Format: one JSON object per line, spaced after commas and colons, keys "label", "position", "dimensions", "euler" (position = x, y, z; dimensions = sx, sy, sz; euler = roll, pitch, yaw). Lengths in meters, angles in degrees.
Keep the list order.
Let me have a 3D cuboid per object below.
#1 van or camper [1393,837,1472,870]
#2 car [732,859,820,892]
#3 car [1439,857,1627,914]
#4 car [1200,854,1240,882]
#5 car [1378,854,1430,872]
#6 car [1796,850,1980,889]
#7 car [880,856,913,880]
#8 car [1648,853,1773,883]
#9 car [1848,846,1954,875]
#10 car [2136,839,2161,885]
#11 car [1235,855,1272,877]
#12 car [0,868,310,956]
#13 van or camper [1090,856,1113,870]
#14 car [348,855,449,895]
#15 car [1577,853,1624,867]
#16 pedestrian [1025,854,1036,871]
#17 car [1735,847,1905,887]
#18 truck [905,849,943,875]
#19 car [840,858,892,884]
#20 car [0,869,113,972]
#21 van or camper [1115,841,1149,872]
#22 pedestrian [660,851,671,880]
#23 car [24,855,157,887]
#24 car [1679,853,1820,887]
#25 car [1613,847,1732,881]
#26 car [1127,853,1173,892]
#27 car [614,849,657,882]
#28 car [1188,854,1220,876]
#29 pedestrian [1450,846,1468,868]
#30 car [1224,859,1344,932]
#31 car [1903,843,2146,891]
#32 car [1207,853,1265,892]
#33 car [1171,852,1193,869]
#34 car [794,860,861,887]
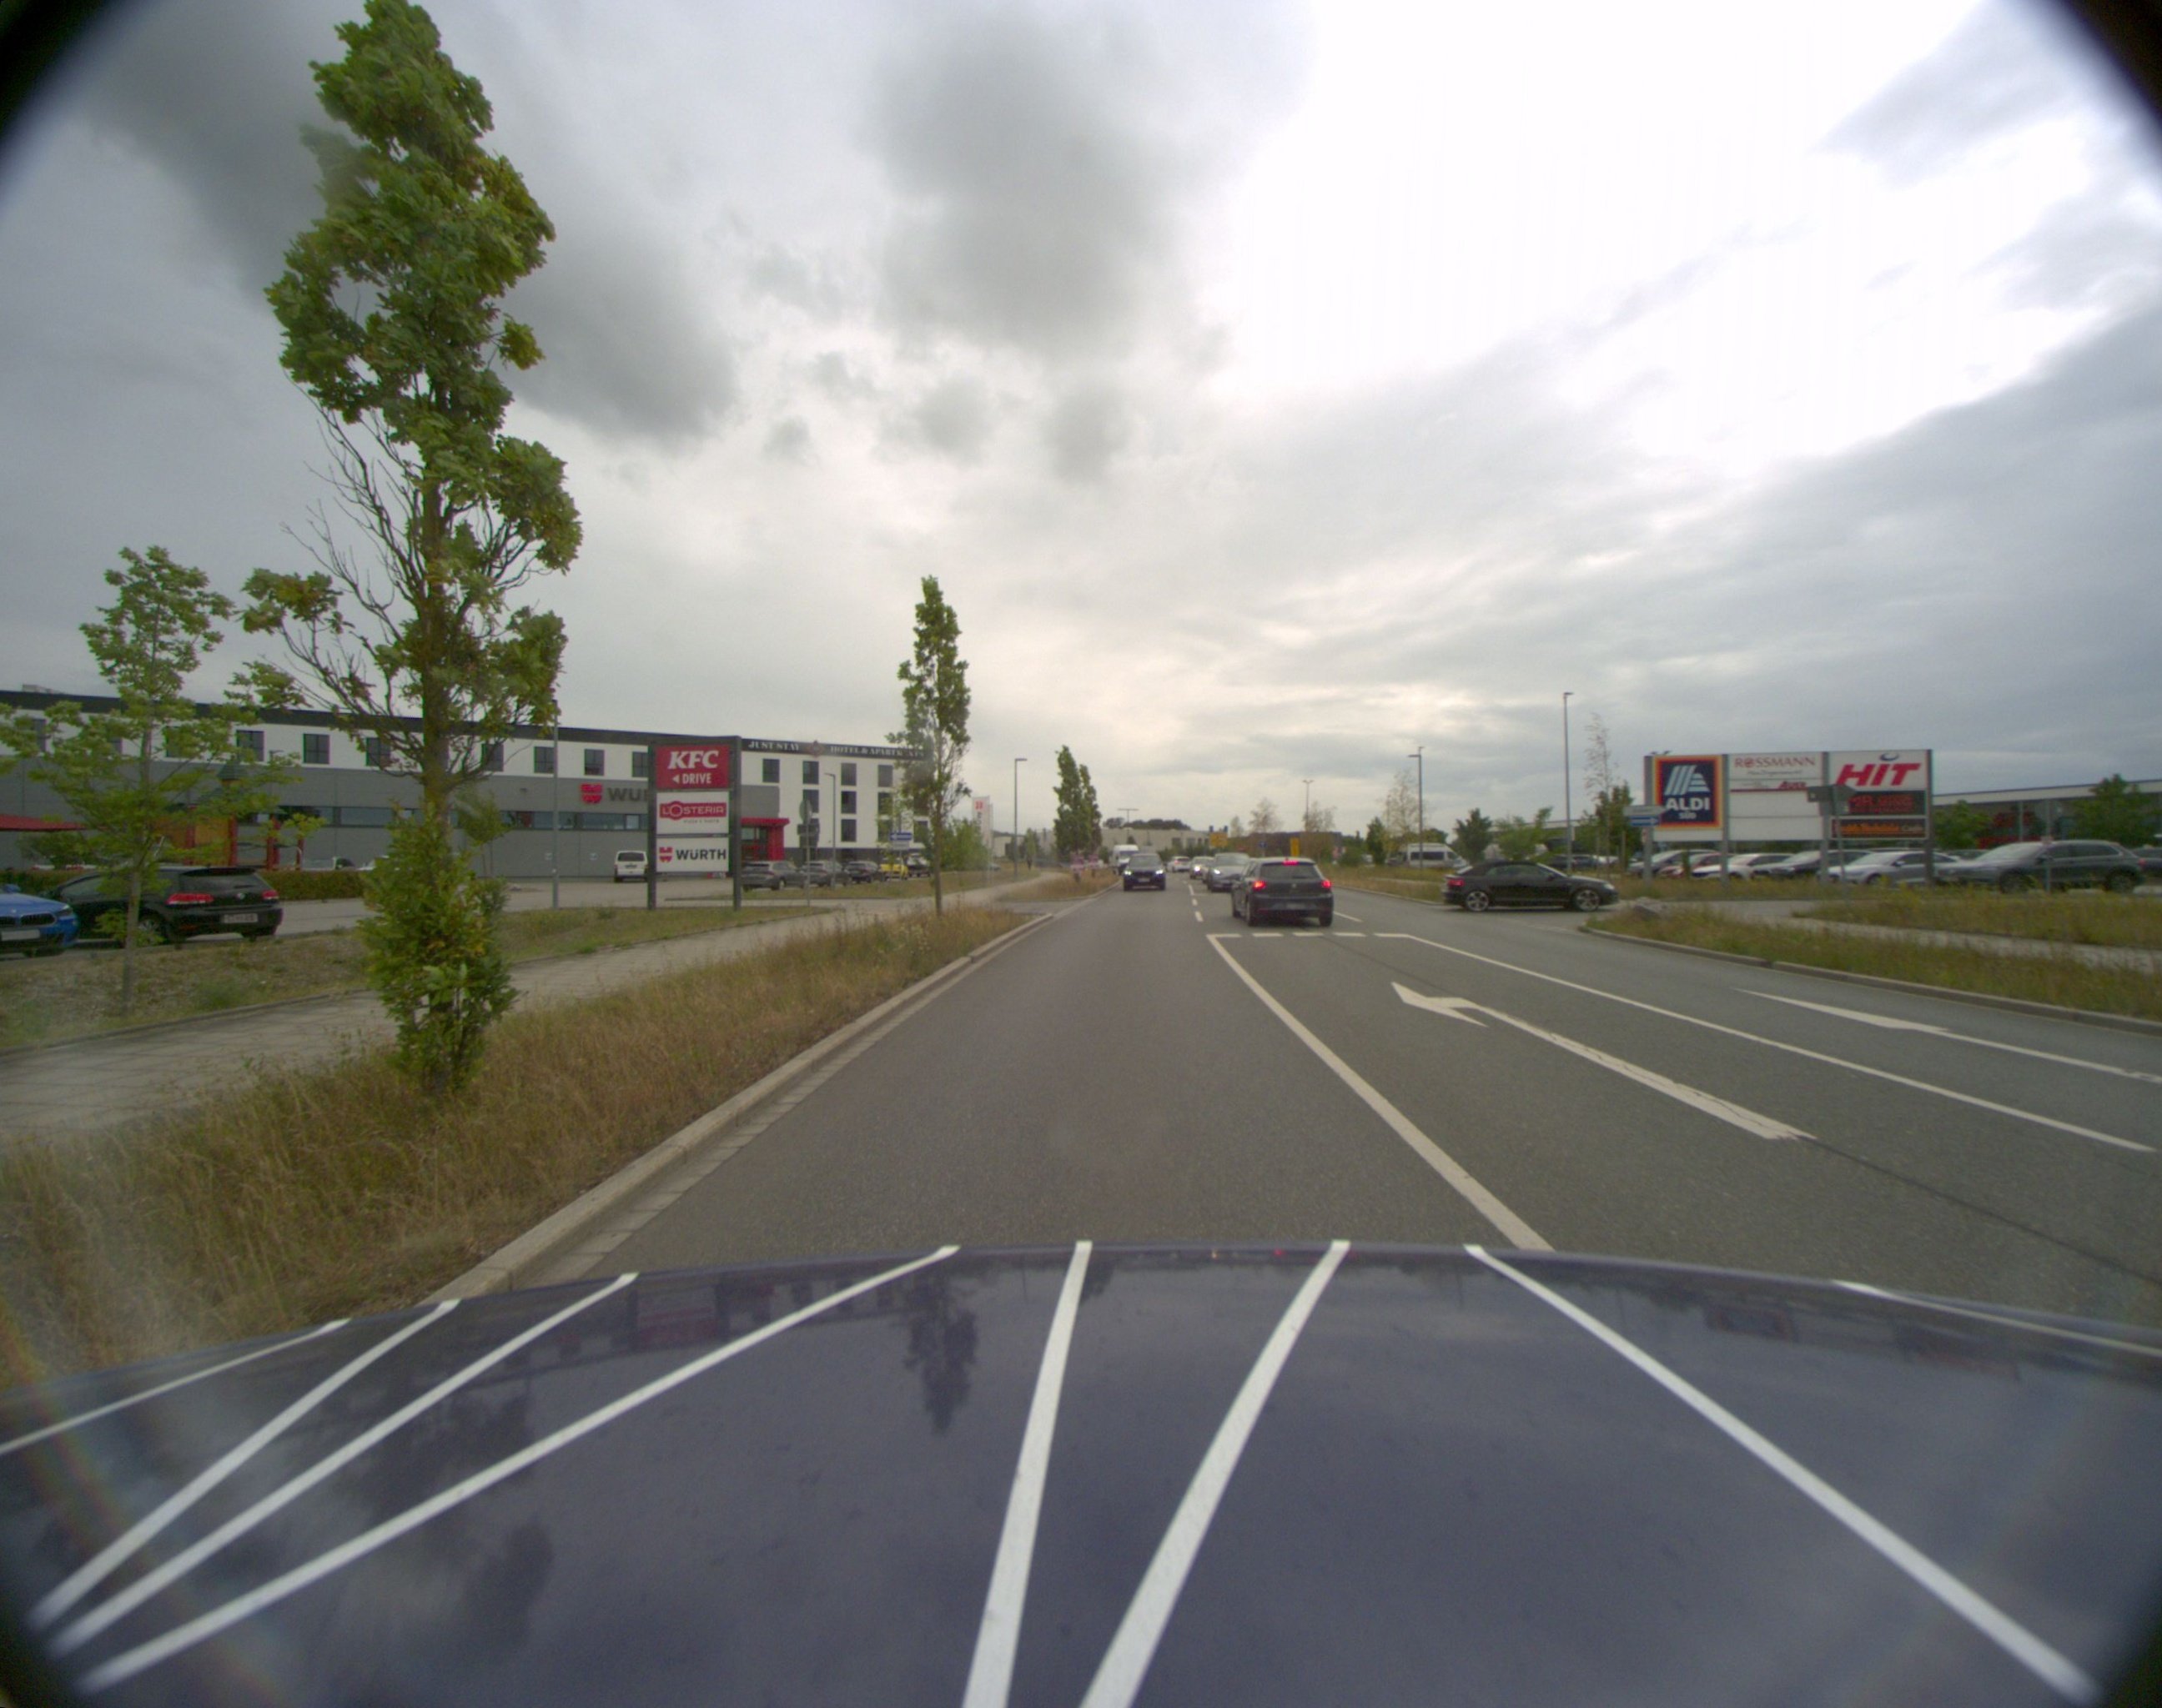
{"label": "van or camper", "position": [30.532, -0.050, 66.132], "dimensions": [5.869, 2.783, 2.242], "euler": [0, 1, -3]}
{"label": "car", "position": [-14.492, 0.975, 36.411], "dimensions": [1.966, 1.451, 4.834], "euler": [0, 0, 4]}
{"label": "car", "position": [12.214, 0.815, 20.868], "dimensions": [4.221, 1.429, 1.777], "euler": [0, 1, 21]}
{"label": "car", "position": [7.616, 0.748, 41.932], "dimensions": [1.884, 1.460, 4.195], "euler": [0, 0, 6]}
{"label": "car", "position": [30.048, 0.874, 70.850], "dimensions": [3.954, 1.624, 2.085], "euler": [0, 0, -2]}
{"label": "car", "position": [28.692, 0.555, 27.151], "dimensions": [4.323, 1.332, 2.027], "euler": [0, 0, 2]}
{"label": "car", "position": [-13.234, 0.988, 54.777], "dimensions": [1.768, 1.676, 4.409], "euler": [0, 0, -6]}
{"label": "car", "position": [29.615, 0.646, 35.870], "dimensions": [4.092, 1.383, 2.001], "euler": [0, 0, 7]}
{"label": "car", "position": [55.205, 0.422, 51.260], "dimensions": [2.246, 1.863, 4.300], "euler": [0, 0, -16]}
{"label": "car", "position": [46.456, 0.302, 30.543], "dimensions": [1.840, 1.910, 4.440], "euler": [0, 0, -22]}
{"label": "car", "position": [11.632, 0.788, 51.352], "dimensions": [1.840, 1.409, 4.501], "euler": [1, 0, 5]}
{"label": "car", "position": [-17.317, 1.026, 14.238], "dimensions": [3.994, 1.485, 1.983], "euler": [0, 0, 7]}
{"label": "van or camper", "position": [3.048, 1.368, 112.833], "dimensions": [1.954, 1.996, 5.121], "euler": [1, 0, -15]}
{"label": "car", "position": [-30.914, 0.895, 34.617], "dimensions": [2.002, 1.687, 4.783], "euler": [0, 0, -23]}
{"label": "car", "position": [56.439, 0.628, 82.587], "dimensions": [2.000, 1.433, 3.997], "euler": [0, 0, -8]}
{"label": "pedestrian", "position": [-5.649, 0.942, 84.669], "dimensions": [1.075, 1.847, 1.193], "euler": [0, 1, -11]}
{"label": "car", "position": [29.116, 0.499, 30.075], "dimensions": [4.374, 1.496, 2.241], "euler": [0, 0, 6]}
{"label": "truck", "position": [-14.646, 0.724, 71.394], "dimensions": [2.233, 2.312, 8.213], "euler": [0, 0, -2]}
{"label": "car", "position": [-13.589, 1.073, 48.330], "dimensions": [1.998, 1.488, 4.607], "euler": [0, 1, 0]}
{"label": "car", "position": [-18.188, 1.015, 11.719], "dimensions": [4.271, 1.511, 1.966], "euler": [0, 0, 5]}
{"label": "van or camper", "position": [4.365, 0.224, 66.148], "dimensions": [2.265, 2.601, 5.695], "euler": [0, 0, -3]}
{"label": "pedestrian", "position": [-26.929, 0.757, 49.227], "dimensions": [0.615, 1.857, 0.800], "euler": [-1, 0, -30]}
{"label": "car", "position": [-50.024, 0.808, 38.546], "dimensions": [2.083, 1.510, 4.567], "euler": [1, 0, -23]}
{"label": "car", "position": [29.283, 0.705, 33.408], "dimensions": [4.328, 1.448, 2.011], "euler": [0, 0, 5]}
{"label": "car", "position": [29.808, 0.494, 38.416], "dimensions": [4.310, 1.645, 2.081], "euler": [0, 0, 4]}
{"label": "car", "position": [3.158, 0.799, 35.018], "dimensions": [1.998, 1.654, 4.002], "euler": [-1, 0, 5]}
{"label": "car", "position": [-28.224, 0.697, 48.274], "dimensions": [2.003, 1.975, 4.626], "euler": [0, 0, -26]}
{"label": "car", "position": [8.168, 0.714, 50.671], "dimensions": [1.706, 1.429, 4.033], "euler": [0, 0, 3]}
{"label": "pedestrian", "position": [32.044, 0.267, 64.346], "dimensions": [1.010, 1.879, 1.114], "euler": [0, 0, 3]}
{"label": "car", "position": [4.405, 0.839, 17.112], "dimensions": [1.833, 1.412, 4.247], "euler": [-1, 0, 4]}
{"label": "car", "position": [28.548, 0.395, 23.153], "dimensions": [4.366, 1.383, 2.167], "euler": [0, 0, 7]}
{"label": "car", "position": [6.469, 0.744, 32.221], "dimensions": [1.997, 1.552, 4.615], "euler": [0, 0, 6]}
{"label": "car", "position": [10.230, 0.637, 77.356], "dimensions": [1.997, 1.627, 4.705], "euler": [1, 0, 5]}
{"label": "car", "position": [-13.930, 1.028, 42.040], "dimensions": [1.868, 1.428, 4.881], "euler": [0, 0, 2]}
